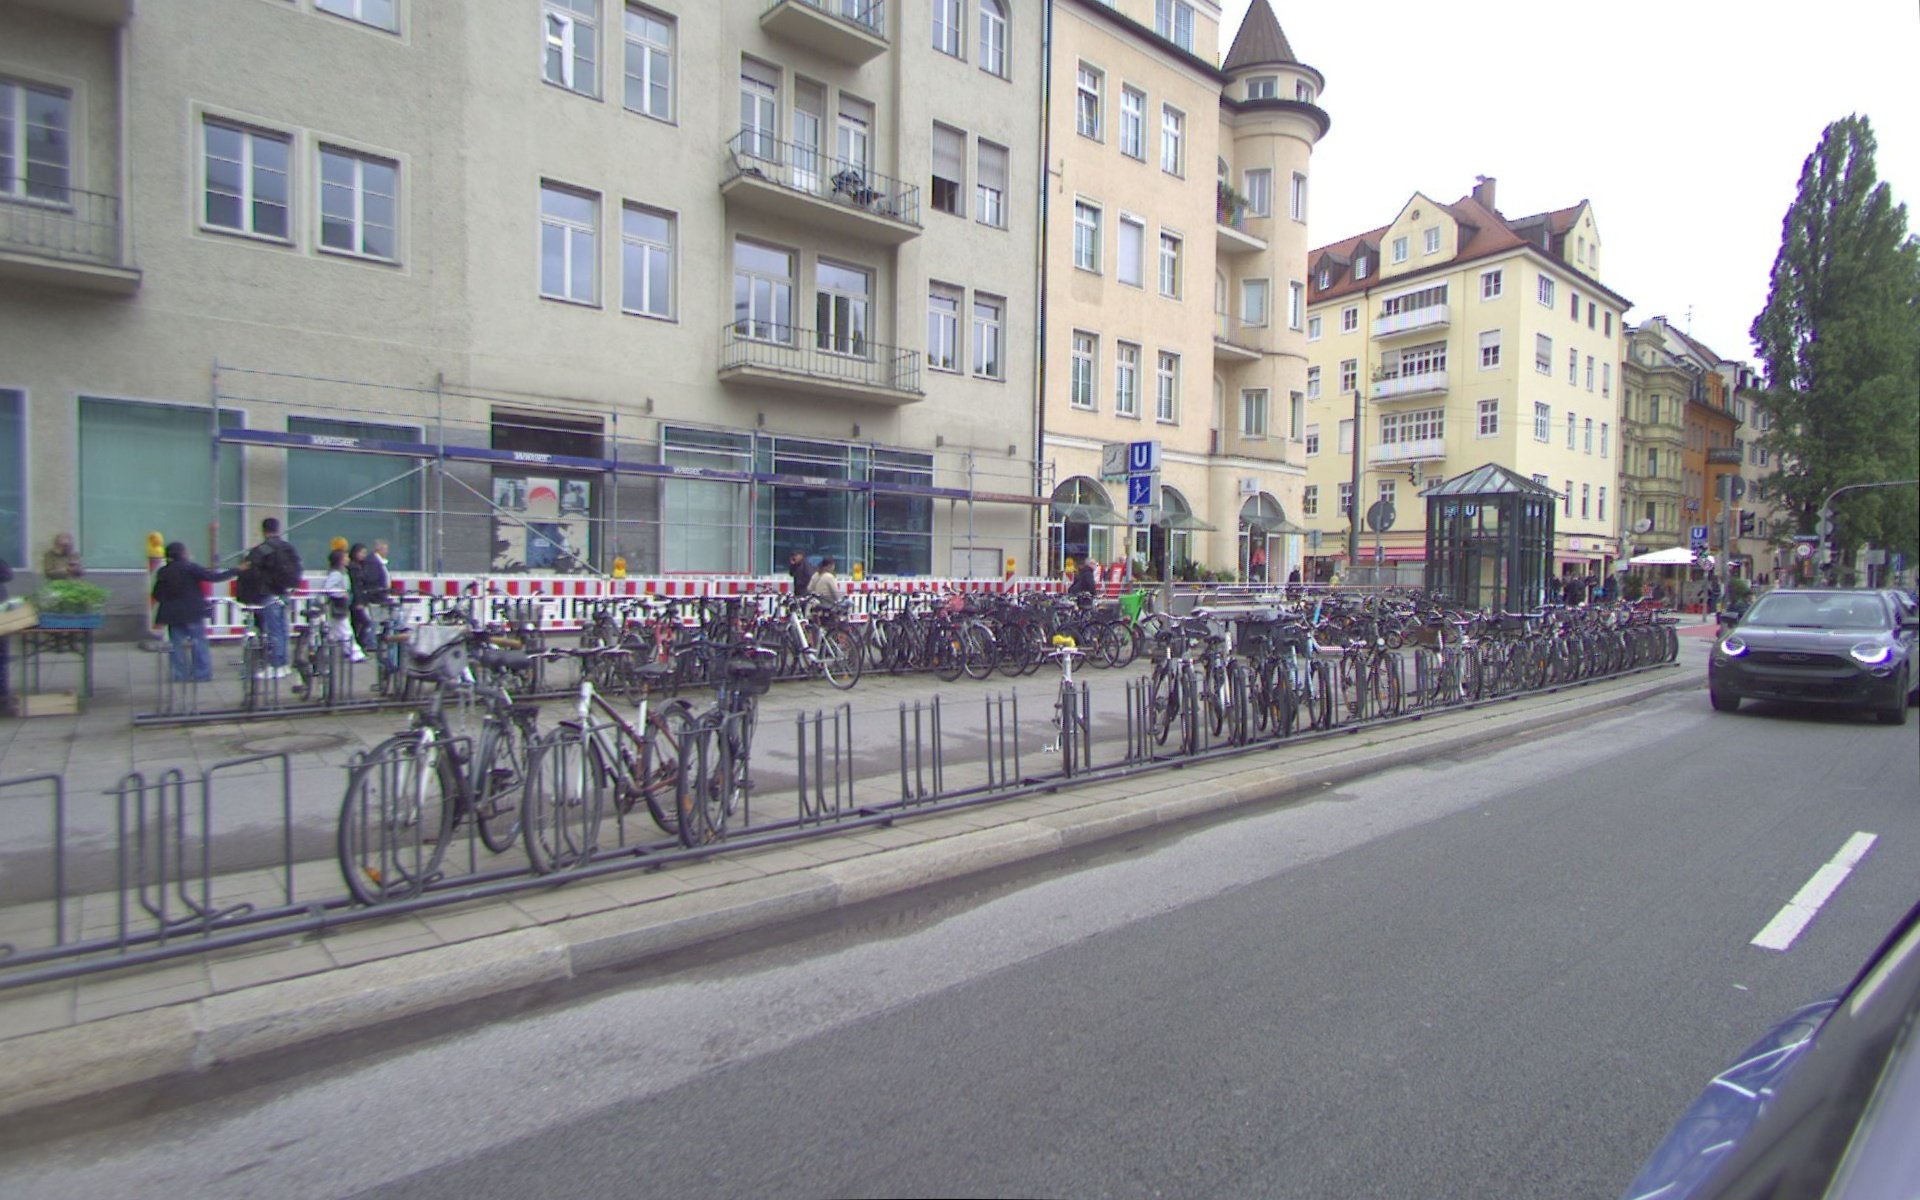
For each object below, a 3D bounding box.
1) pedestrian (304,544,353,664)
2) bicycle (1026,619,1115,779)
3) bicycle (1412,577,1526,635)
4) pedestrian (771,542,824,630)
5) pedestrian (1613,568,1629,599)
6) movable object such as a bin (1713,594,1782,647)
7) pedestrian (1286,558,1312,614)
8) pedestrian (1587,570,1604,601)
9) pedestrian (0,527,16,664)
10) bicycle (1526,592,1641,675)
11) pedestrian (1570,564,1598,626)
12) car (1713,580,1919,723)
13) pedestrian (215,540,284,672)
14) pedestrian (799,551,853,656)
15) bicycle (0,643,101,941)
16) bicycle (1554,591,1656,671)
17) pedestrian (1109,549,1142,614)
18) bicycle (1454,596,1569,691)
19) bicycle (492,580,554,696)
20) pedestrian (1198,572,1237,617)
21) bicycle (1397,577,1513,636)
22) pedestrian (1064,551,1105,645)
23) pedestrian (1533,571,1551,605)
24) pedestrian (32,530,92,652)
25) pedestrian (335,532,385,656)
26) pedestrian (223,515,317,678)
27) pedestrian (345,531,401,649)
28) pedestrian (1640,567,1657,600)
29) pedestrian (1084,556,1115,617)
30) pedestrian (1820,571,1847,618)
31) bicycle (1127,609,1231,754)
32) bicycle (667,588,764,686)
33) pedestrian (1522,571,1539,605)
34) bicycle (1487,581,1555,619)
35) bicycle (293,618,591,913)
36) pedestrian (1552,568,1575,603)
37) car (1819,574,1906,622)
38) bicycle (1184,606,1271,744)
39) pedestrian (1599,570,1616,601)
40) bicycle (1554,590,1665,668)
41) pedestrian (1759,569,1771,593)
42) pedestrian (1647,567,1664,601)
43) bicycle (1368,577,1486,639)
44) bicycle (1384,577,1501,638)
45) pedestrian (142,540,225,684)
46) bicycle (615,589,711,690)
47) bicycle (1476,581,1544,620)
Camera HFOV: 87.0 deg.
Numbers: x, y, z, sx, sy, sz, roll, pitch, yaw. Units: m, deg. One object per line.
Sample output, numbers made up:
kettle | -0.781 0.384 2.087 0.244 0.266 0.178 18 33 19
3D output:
pedestrian | -8.432 0.044 13.512 0.458 1.559 0.560 -1 1 -39
bicycle | 0.769 0.664 7.438 0.379 1.024 1.802 0 -2 -2
bicycle | 11.779 0.103 23.495 0.617 1.242 2.319 0 2 -37
pedestrian | -3.142 -0.283 19.561 0.819 1.652 0.564 0 2 -37
pedestrian | 36.515 -0.921 55.935 0.575 1.705 0.552 0 2 -40
movable object such as a bin | 17.870 0.452 22.963 0.735 1.075 1.088 -2 5 -43
pedestrian | 10.538 -0.454 31.460 0.580 1.721 0.566 -2 3 -42
pedestrian | 32.006 -0.728 50.967 0.575 1.544 0.528 0 2 -40
pedestrian | -12.114 -0.060 12.391 0.751 1.671 0.602 0 2 -39
bicycle | 9.345 0.466 15.233 0.468 1.151 1.681 0 1 -10
pedestrian | 18.487 -0.161 29.983 0.634 1.799 0.605 1 1 26
car | 10.910 0.498 12.541 3.980 1.488 1.738 -1 2 -41
pedestrian | -8.785 0.053 12.510 0.650 1.584 0.545 2 2 40
pedestrian | -2.115 0.042 15.996 0.655 1.602 0.532 2 2 26
bicycle | -3.891 0.721 3.385 0.536 1.119 1.802 0 -2 -2
bicycle | 9.923 0.448 15.639 0.469 1.151 1.679 0 1 -1
pedestrian | 4.511 -0.518 27.615 0.634 1.759 0.617 -2 3 -42
bicycle | 7.283 0.535 13.461 0.480 1.151 1.797 0 1 -2
bicycle | -4.822 0.373 11.130 0.402 1.116 1.636 0 3 -31
pedestrian | 7.518 -0.179 29.549 0.903 1.260 0.700 -2 3 -42
bicycle | 11.234 0.120 23.048 0.617 1.242 2.319 0 2 -37
pedestrian | 2.348 -0.049 19.068 0.728 1.729 0.703 1 2 9
pedestrian | 27.067 -0.571 47.038 0.575 1.544 0.528 0 2 -40
pedestrian | -12.300 -0.131 13.868 0.598 1.623 0.465 -1 2 -43
pedestrian | -8.404 -0.095 14.173 0.465 1.694 0.525 -1 1 -44
pedestrian | -8.140 -0.058 11.940 0.713 1.851 0.720 2 2 35
pedestrian | -8.587 -0.148 14.819 0.495 1.695 0.541 -1 1 -2
pedestrian | 35.548 -0.843 52.263 0.575 1.705 0.552 0 2 -40
pedestrian | 3.639 -0.360 26.338 0.580 1.560 0.566 -2 3 -42
pedestrian | 34.512 -0.225 39.996 0.729 1.823 0.701 2 4 41
bicycle | 1.776 0.628 8.428 0.390 1.073 1.802 0 -2 -2
bicycle | -3.047 0.433 12.538 1.447 1.091 0.404 4 3 41
pedestrian | 26.733 -0.575 47.419 0.575 1.544 0.528 0 2 -40
bicycle | 17.937 -0.007 32.396 0.597 1.141 1.828 1 2 -28
bicycle | -2.316 0.658 4.788 0.536 1.119 1.802 0 -2 -2
pedestrian | 29.807 -0.718 49.999 0.610 1.687 0.686 1 2 -16
car | 32.848 -0.116 36.825 3.930 1.644 1.853 -2 2 -40
bicycle | 2.297 0.611 8.851 0.390 1.073 1.849 -1 -2 4
pedestrian | 32.398 -0.725 50.623 0.575 1.544 0.528 0 2 -40
bicycle | 10.385 0.428 16.256 0.469 1.151 1.788 0 1 -6
pedestrian | 56.791 -1.344 71.399 0.575 1.705 0.552 0 2 -40
pedestrian | 35.288 -0.815 51.369 0.575 1.705 0.552 0 2 -40
bicycle | 10.232 0.152 22.259 0.617 1.242 2.319 0 2 -37
bicycle | 10.739 0.137 22.623 0.617 1.242 2.319 0 2 -37
pedestrian | -8.750 0.114 11.414 0.716 1.546 0.678 0 2 -39
bicycle | -3.611 0.447 12.245 1.447 1.091 0.404 4 3 41
bicycle | 17.397 0.008 32.049 0.597 1.141 1.828 1 2 -28
